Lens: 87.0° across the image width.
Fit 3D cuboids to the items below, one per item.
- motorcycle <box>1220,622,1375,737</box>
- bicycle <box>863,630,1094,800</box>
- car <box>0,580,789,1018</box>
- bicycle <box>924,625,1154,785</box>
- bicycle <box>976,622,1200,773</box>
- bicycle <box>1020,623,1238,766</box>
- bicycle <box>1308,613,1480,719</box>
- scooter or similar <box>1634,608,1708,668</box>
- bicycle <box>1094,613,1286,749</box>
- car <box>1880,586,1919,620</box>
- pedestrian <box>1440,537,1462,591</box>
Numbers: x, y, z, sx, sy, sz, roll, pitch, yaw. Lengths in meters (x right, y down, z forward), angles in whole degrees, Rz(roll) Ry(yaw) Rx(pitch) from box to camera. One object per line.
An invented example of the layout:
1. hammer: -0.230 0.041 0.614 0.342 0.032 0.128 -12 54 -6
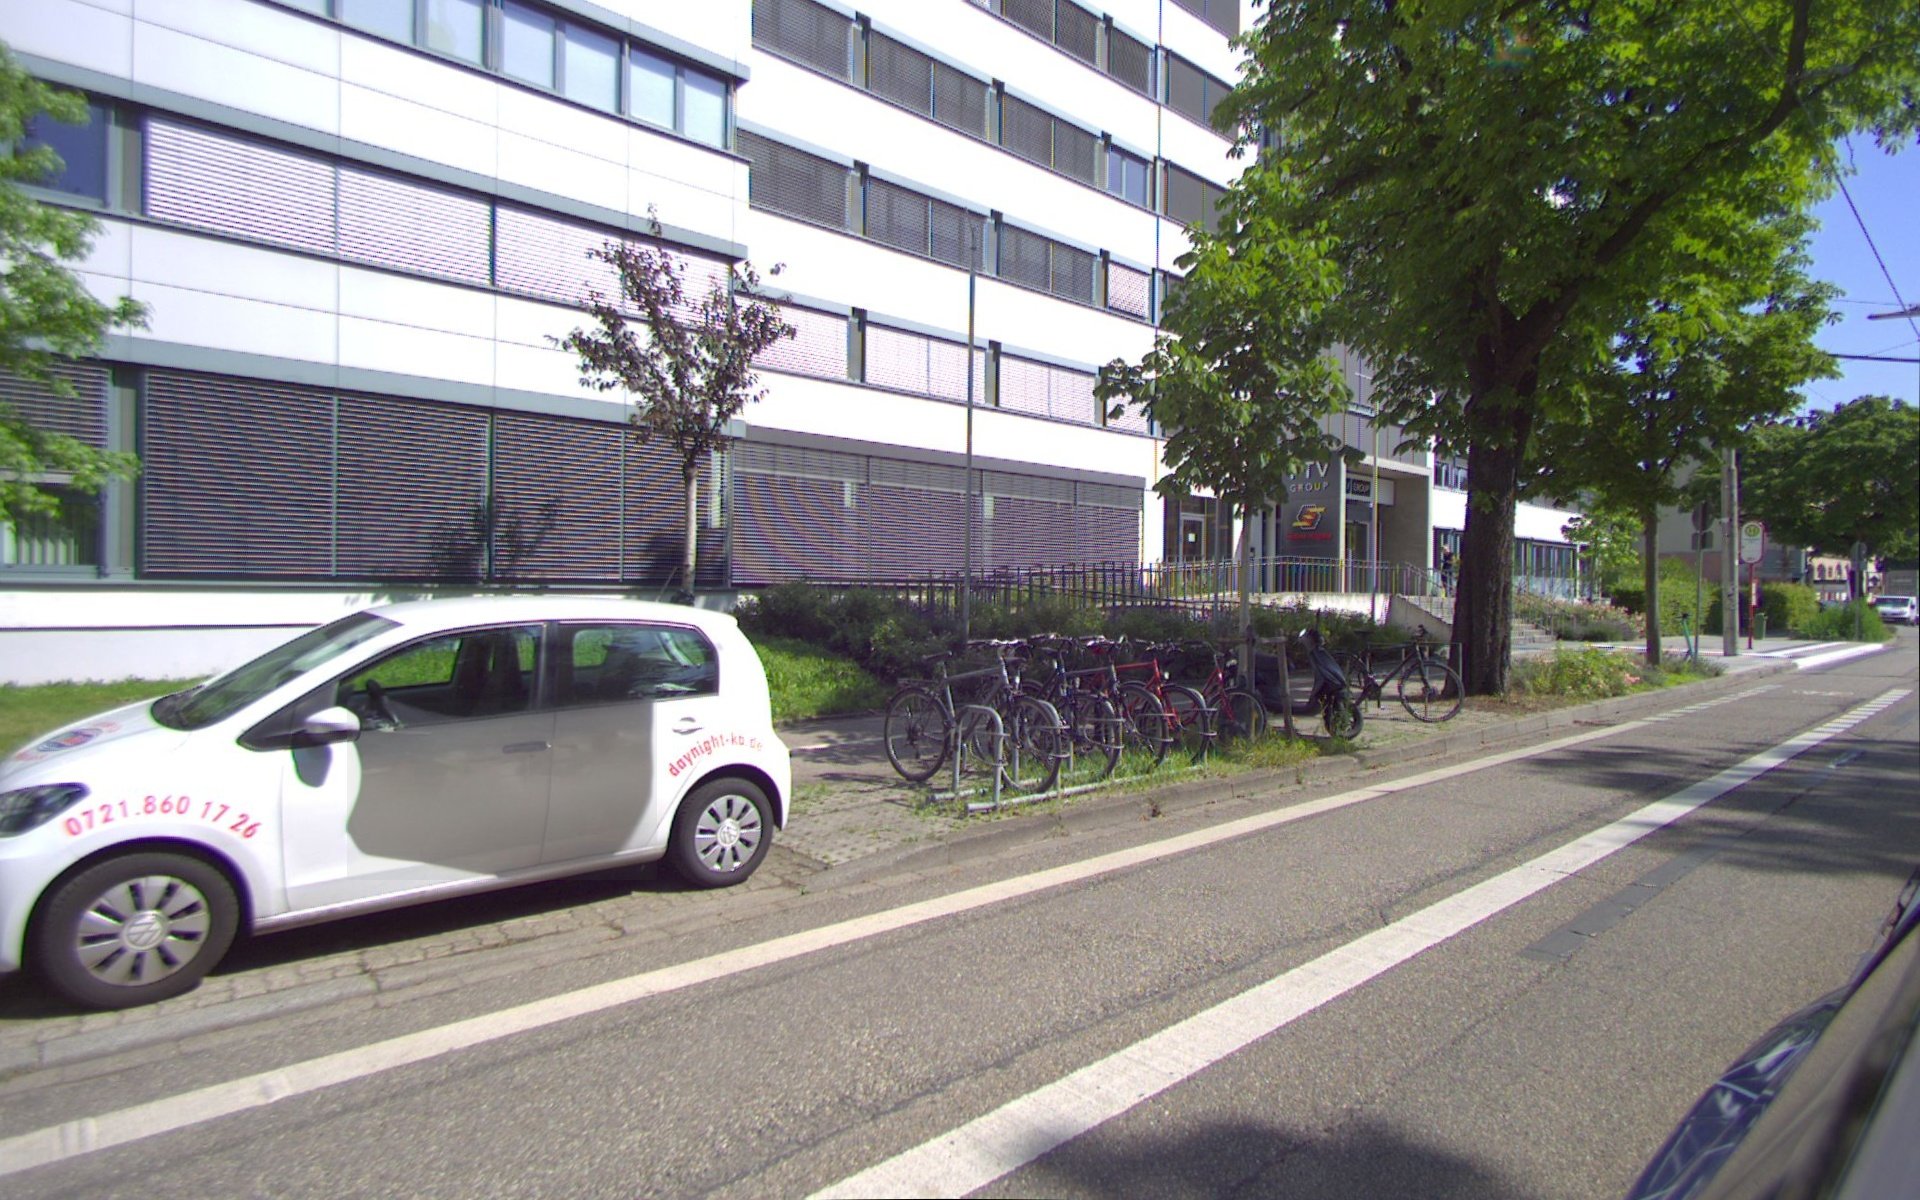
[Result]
1. motorcycle: 3.508 0.789 10.601 0.525 1.059 1.467 0 1 -43
2. bicycle: 0.080 0.777 7.509 0.541 1.097 1.887 0 -1 -43
3. car: -2.902 0.660 4.773 3.877 1.469 1.593 0 1 -41
4. bicycle: 0.560 0.759 7.918 0.541 1.097 1.913 0 -2 -43
5. bicycle: 0.995 0.750 8.335 0.541 1.097 1.913 0 -2 -43
6. bicycle: 1.408 0.754 8.759 0.541 1.096 1.913 0 -1 -43
7. bicycle: 5.105 0.736 11.987 0.586 1.096 1.776 0 1 -43
8. scooter or similar: 14.467 0.748 20.608 0.484 1.169 1.146 0 0 -35
9. bicycle: 2.174 0.723 9.750 0.586 1.134 1.776 0 1 -43
10. car: 61.281 0.183 65.469 5.100 2.080 1.980 0 3 -41
11. pedestrian: 16.020 -1.165 33.008 0.537 1.750 0.499 0 0 -42
